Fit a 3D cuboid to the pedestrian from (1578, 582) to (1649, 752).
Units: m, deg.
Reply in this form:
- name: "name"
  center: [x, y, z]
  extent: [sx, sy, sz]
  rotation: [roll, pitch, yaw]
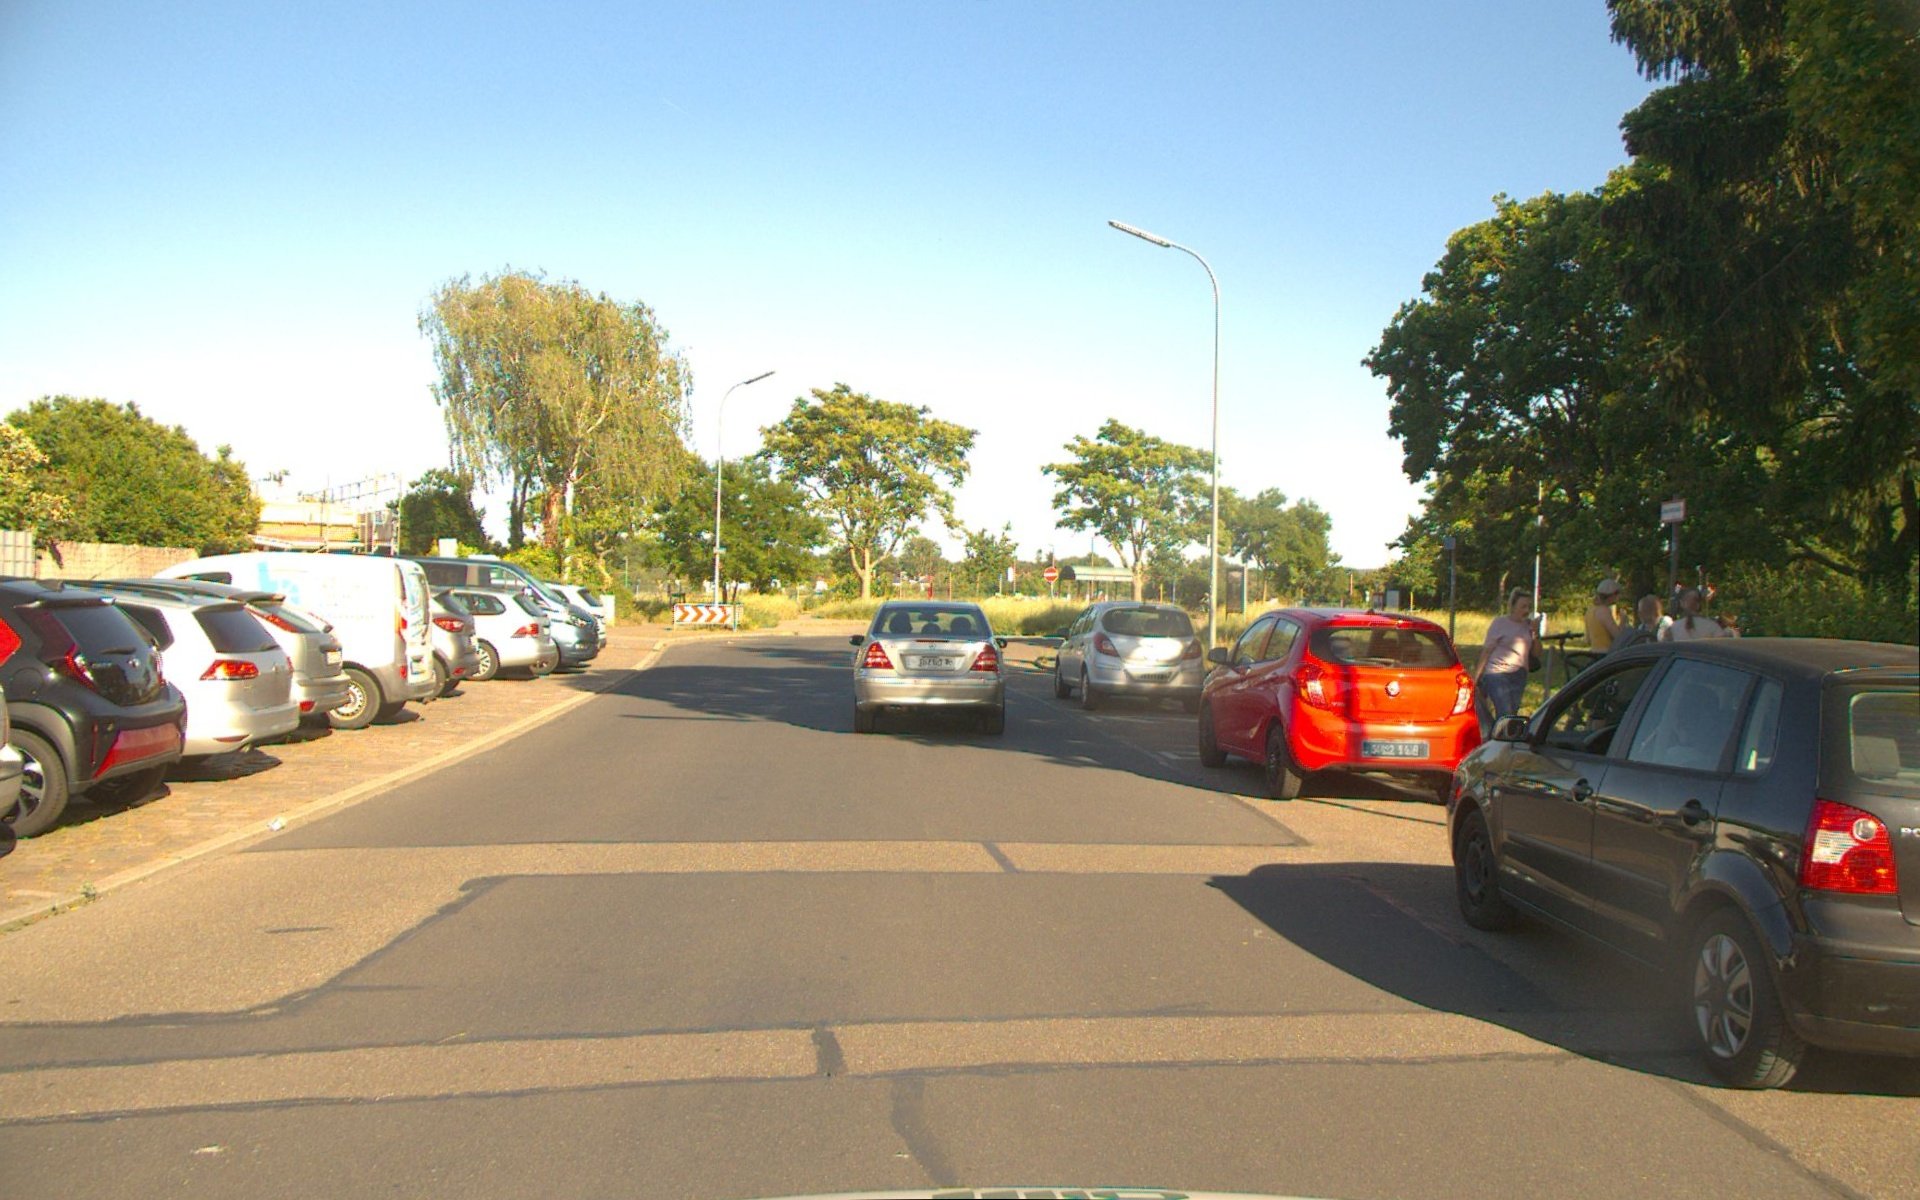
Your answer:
- name: "pedestrian"
  center: [6.258, 0.636, 15.862]
  extent: [0.471, 1.592, 0.597]
  rotation: [-1, -1, 7]

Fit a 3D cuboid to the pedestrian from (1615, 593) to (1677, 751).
- name: "pedestrian"
  center: [6.757, 0.698, 16.306]
  extent: [0.354, 1.529, 0.500]
  rotation: [0, -1, -6]

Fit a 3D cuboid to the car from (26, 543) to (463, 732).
- name: "car"
  center: [-7.654, 0.391, 18.057]
  extent: [3.901, 1.811, 1.923]
  rotation: [2, 0, -7]

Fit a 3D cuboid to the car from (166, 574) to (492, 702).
- name: "car"
  center: [-8.406, 0.506, 22.341]
  extent: [3.743, 1.559, 1.785]
  rotation: [2, -1, -9]

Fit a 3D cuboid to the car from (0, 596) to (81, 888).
- name: "car"
  center: [-6.575, 0.632, 8.220]
  extent: [3.442, 1.471, 1.636]
  rotation: [3, -1, -1]

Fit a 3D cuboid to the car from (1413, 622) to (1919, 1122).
- name: "car"
  center: [3.293, 0.859, 6.797]
  extent: [1.614, 1.427, 3.880]
  rotation: [3, -1, -2]

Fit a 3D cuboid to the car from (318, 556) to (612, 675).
- name: "car"
  center: [-8.832, 0.282, 29.910]
  extent: [4.780, 1.949, 1.996]
  rotation: [2, -1, -8]

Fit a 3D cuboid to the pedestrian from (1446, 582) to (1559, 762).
- name: "pedestrian"
  center: [5.003, 0.653, 15.279]
  extent: [0.772, 1.592, 0.569]
  rotation: [3, -1, -4]

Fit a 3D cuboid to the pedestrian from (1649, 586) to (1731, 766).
- name: "pedestrian"
  center: [6.550, 0.674, 14.849]
  extent: [0.476, 1.592, 0.468]
  rotation: [0, -1, -7]

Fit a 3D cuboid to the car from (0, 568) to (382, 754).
- name: "car"
  center: [-7.585, 0.547, 15.795]
  extent: [3.442, 1.515, 1.727]
  rotation: [3, -1, -1]

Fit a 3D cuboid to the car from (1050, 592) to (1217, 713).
- name: "car"
  center: [2.438, 0.721, 24.131]
  extent: [1.697, 1.570, 3.784]
  rotation: [2, -1, -5]

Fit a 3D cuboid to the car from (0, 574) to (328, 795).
- name: "car"
  center: [-7.041, 0.590, 12.988]
  extent: [3.442, 1.515, 1.636]
  rotation: [3, -1, -1]

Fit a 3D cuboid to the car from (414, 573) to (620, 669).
- name: "car"
  center: [-8.655, 0.417, 32.547]
  extent: [3.541, 1.635, 1.732]
  rotation: [3, -1, -4]

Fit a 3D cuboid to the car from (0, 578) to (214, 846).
- name: "car"
  center: [-6.867, 0.610, 10.525]
  extent: [3.446, 1.515, 1.635]
  rotation: [3, 1, -6]

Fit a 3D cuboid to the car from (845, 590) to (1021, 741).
- name: "car"
  center: [-0.359, 0.669, 19.354]
  extent: [1.780, 1.489, 4.359]
  rotation: [2, 0, -2]

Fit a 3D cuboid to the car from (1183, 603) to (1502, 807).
- name: "car"
  center: [3.111, 0.796, 14.206]
  extent: [1.545, 1.471, 3.784]
  rotation: [2, -1, -5]

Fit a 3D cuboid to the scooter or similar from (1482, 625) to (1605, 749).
- name: "scooter or similar"
  center: [6.123, 0.888, 17.389]
  extent: [0.395, 1.249, 1.239]
  rotation: [1, -1, -33]

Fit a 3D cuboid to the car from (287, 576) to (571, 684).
- name: "car"
  center: [-8.695, 0.488, 27.381]
  extent: [4.057, 1.518, 1.923]
  rotation: [3, -1, -5]

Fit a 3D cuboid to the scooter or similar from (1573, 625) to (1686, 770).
- name: "scooter or similar"
  center: [5.973, 0.848, 14.786]
  extent: [0.610, 1.249, 0.904]
  rotation: [0, -1, -3]
